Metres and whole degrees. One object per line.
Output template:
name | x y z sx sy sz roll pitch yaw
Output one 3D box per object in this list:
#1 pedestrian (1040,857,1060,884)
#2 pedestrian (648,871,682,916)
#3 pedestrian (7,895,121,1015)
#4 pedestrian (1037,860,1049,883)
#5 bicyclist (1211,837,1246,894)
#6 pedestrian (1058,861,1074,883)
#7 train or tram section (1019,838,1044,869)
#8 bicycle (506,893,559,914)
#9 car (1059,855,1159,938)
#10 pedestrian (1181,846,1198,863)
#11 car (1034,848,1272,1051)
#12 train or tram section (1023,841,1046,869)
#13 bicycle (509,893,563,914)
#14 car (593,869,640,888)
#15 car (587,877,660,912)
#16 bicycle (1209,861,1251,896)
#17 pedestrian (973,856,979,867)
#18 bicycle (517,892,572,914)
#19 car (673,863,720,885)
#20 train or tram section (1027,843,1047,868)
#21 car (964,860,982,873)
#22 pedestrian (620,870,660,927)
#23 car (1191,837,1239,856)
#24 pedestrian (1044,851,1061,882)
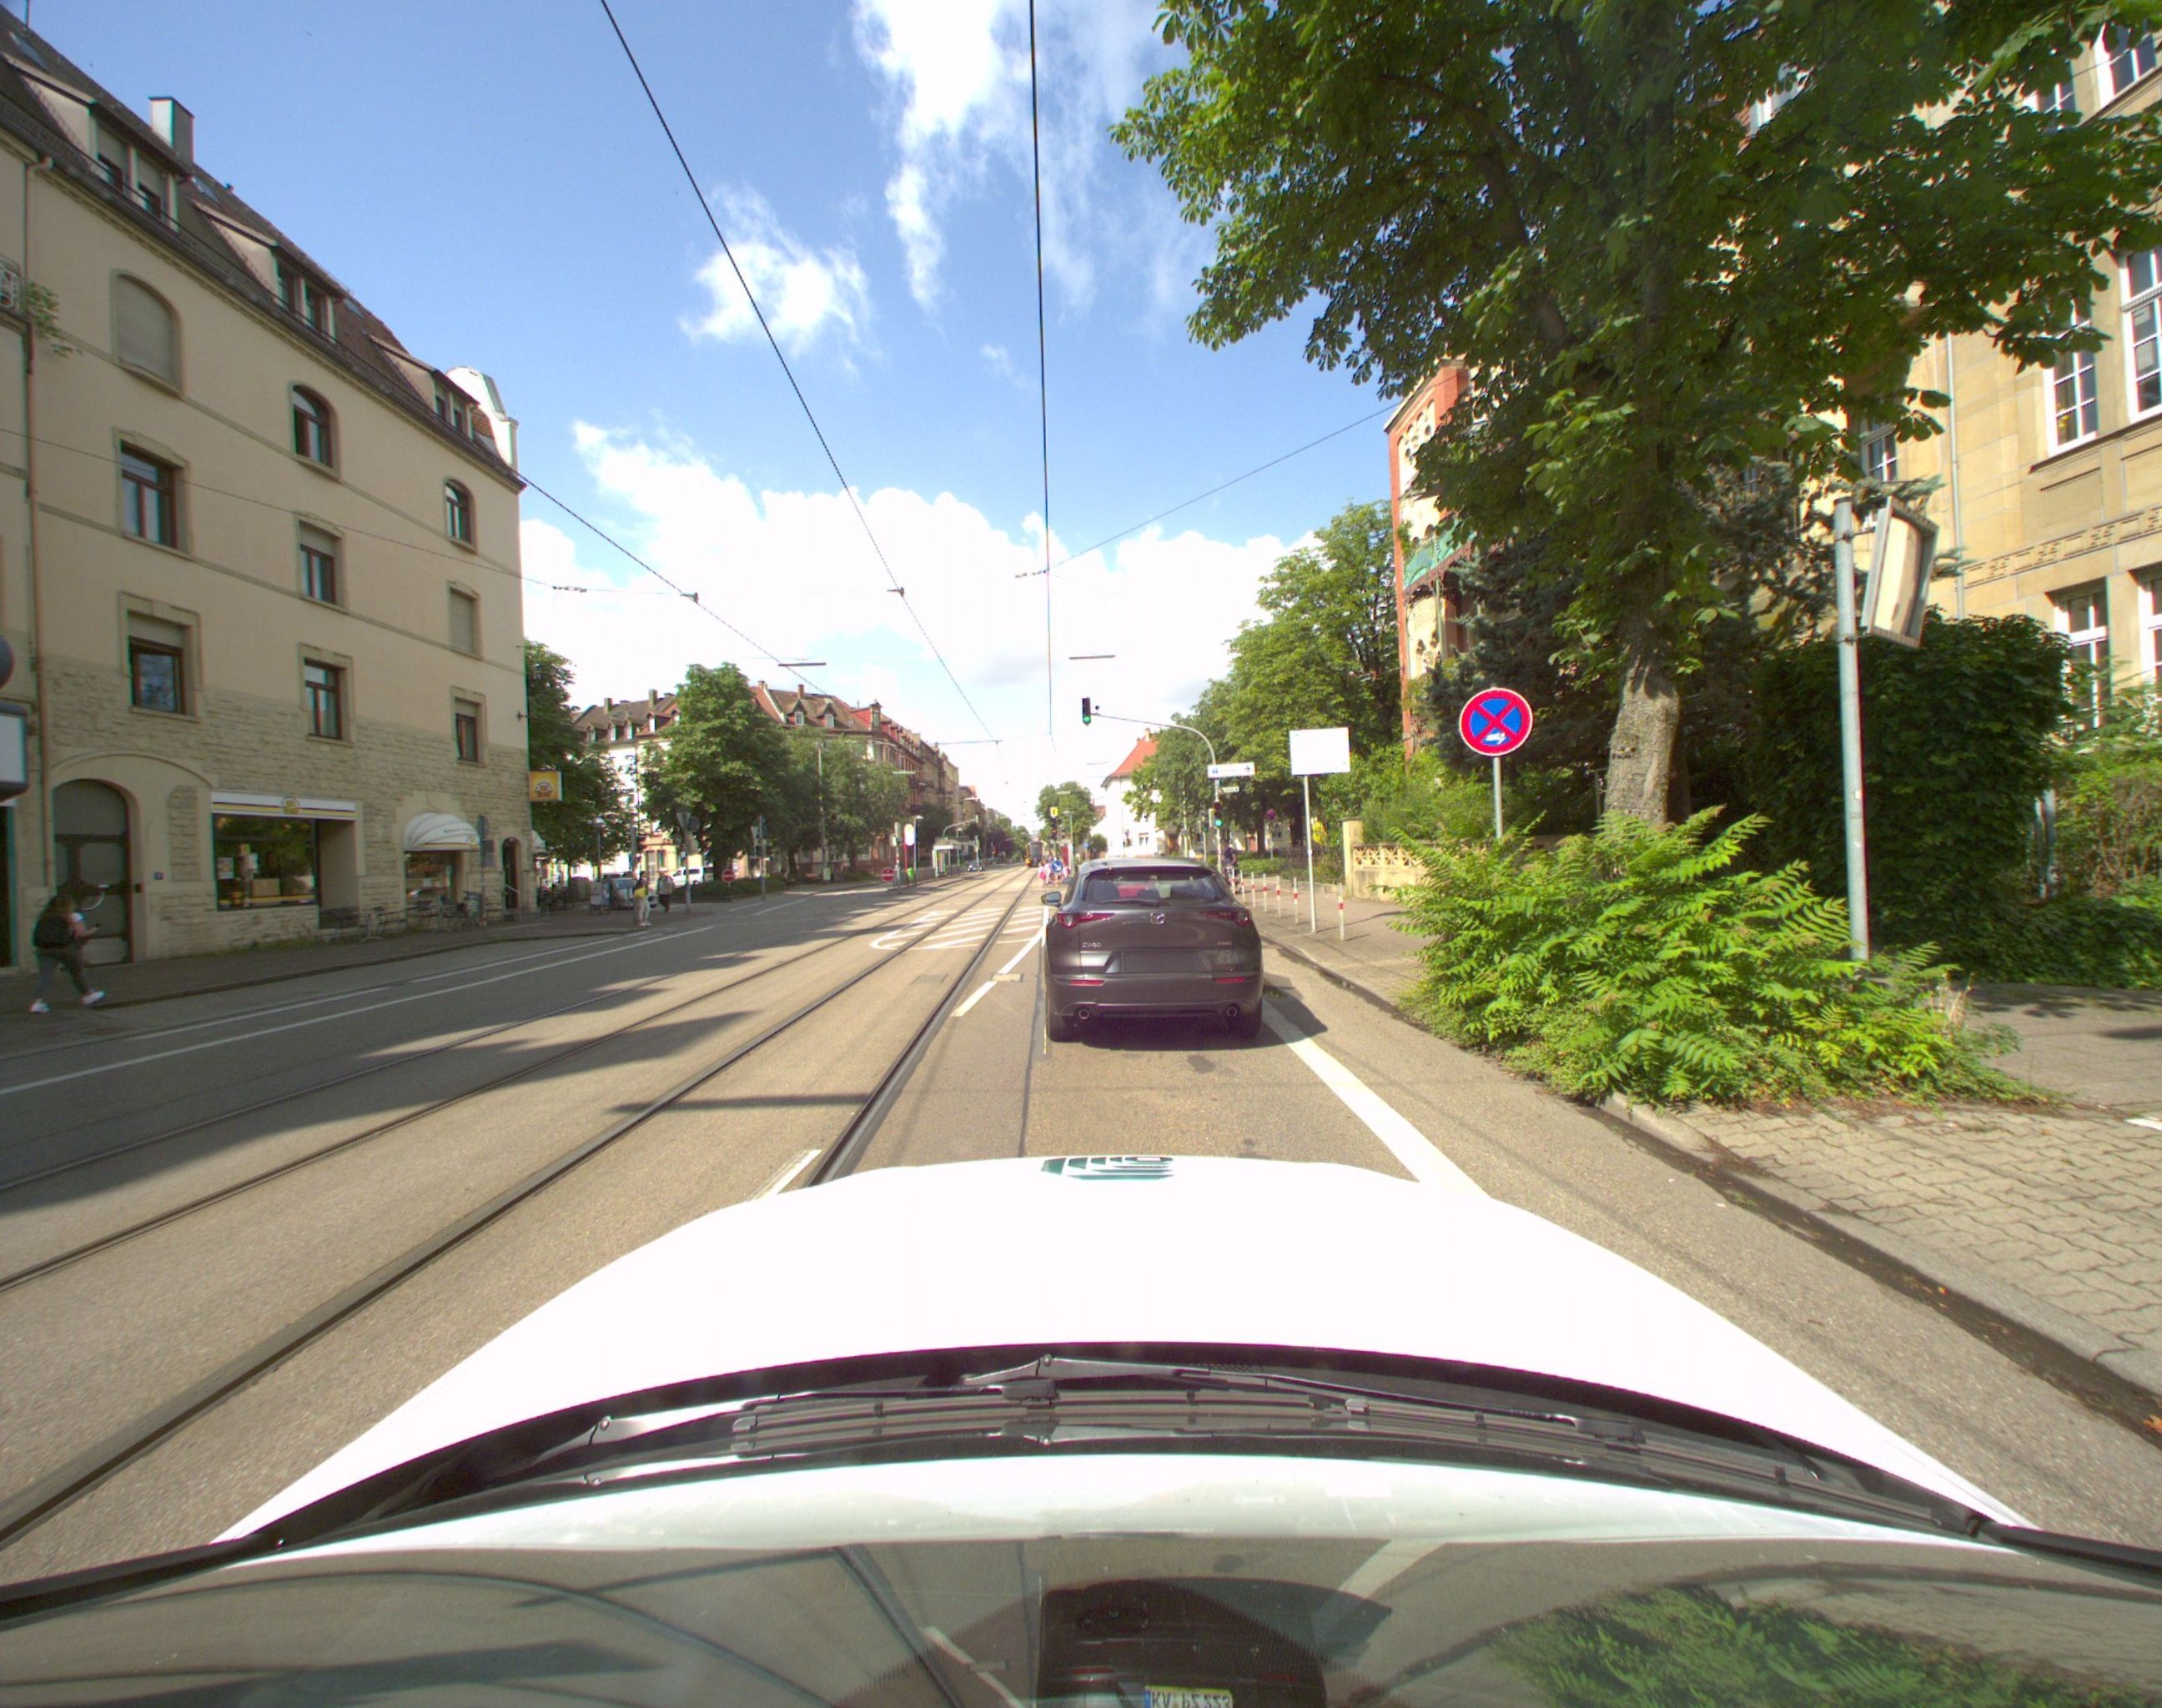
pedestrian | -1.551 0.815 40.905 0.825 1.303 0.716 -5 0 -7
pedestrian | -16.224 1.529 31.777 0.852 1.672 0.822 -3 0 -1
pedestrian | -14.203 1.375 11.412 0.698 1.541 0.953 2 -1 -33
pedestrian | -1.971 0.899 42.071 0.438 1.108 0.421 -5 0 -12
bicyclist | 4.852 0.369 26.867 0.736 1.819 0.814 -3 0 -25
pedestrian | -0.770 0.925 41.755 0.646 1.114 0.439 -2 0 -34
train or tram section | -6.856 0.072 114.450 2.990 3.983 13.798 -3 -1 -2
bicycle | -26.151 2.368 38.831 0.505 0.882 2.043 -3 -2 44
car | 0.548 0.767 16.575 1.769 1.464 3.843 -1 0 1
pedestrian | 8.733 0.069 65.709 1.191 1.269 0.556 -5 0 -7
car | 0.613 0.730 8.121 1.775 1.514 4.002 -1 0 2
train or tram section | -7.214 0.276 128.266 2.990 3.983 13.798 -3 -1 -2
bicycle | -25.351 2.305 37.905 0.505 0.882 2.043 -3 -2 44
car | -46.525 2.435 81.576 3.895 1.663 1.926 -3 0 20
car | -21.174 1.863 37.641 3.823 1.420 1.732 -3 0 41
bicycle | 4.951 0.799 26.980 0.385 1.035 1.857 -3 0 42
pedestrian | -16.110 1.093 124.947 0.785 1.688 0.732 -3 0 -1
bicycle | -24.362 2.219 37.013 0.516 0.882 2.043 -3 -2 44
car | -37.125 1.944 78.582 3.901 1.988 1.866 -2 0 21
train or tram section | -7.597 0.392 142.001 2.990 3.983 13.798 -3 -1 -2
car | -12.525 1.429 94.809 1.620 1.387 3.434 -4 0 -1
pedestrian | -13.841 1.380 25.589 0.754 1.704 0.873 2 0 -3
car | 12.958 -0.718 78.790 4.118 1.509 1.864 -3 1 40
pedestrian | -1.472 0.641 41.757 0.727 1.565 0.797 -3 0 -7
